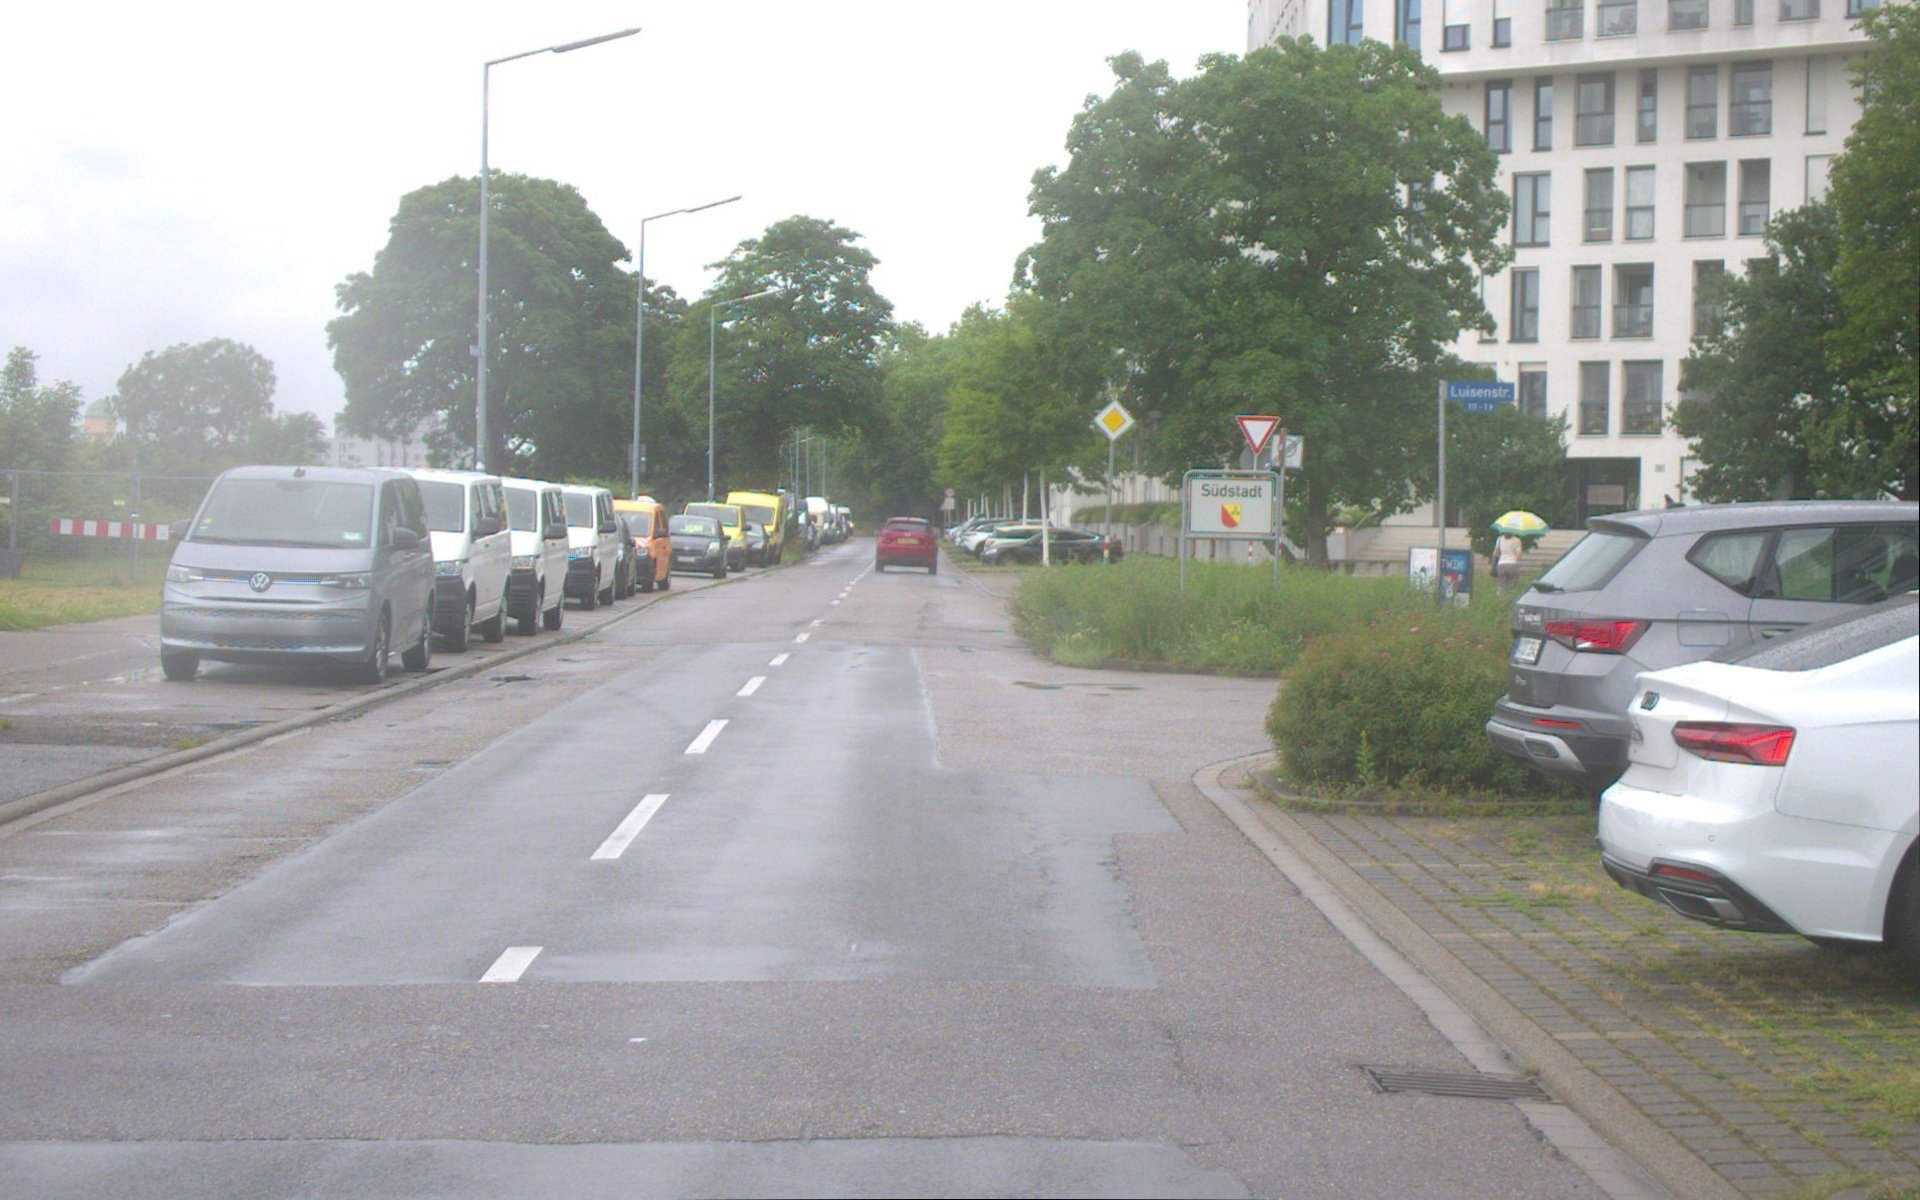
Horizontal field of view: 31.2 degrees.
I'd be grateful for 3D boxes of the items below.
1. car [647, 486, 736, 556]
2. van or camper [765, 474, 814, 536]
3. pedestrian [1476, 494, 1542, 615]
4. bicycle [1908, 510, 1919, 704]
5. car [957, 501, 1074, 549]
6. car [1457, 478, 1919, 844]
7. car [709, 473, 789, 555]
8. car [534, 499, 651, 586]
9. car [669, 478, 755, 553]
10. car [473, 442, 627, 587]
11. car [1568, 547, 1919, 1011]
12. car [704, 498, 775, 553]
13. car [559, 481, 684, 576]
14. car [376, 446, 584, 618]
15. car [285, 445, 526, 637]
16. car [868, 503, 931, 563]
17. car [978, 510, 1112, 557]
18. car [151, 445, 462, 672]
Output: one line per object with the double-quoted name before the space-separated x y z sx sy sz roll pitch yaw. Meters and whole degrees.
"car" -6.599 -1.960 84.875 1.804 1.556 4.033 4 2 -1
"van or camper" -7.981 -4.411 161.327 2.094 2.706 7.575 4 1 -3
"pedestrian" 9.222 -0.772 57.789 0.965 2.006 0.623 1 2 0
"bicycle" 8.550 0.064 26.782 2.190 1.517 0.630 1 1 20
"car" 2.232 -3.069 140.047 4.539 1.679 1.886 -4 1 -3
"car" 4.605 0.231 16.500 4.089 1.618 1.966 -1 1 -2
"car" -7.419 -3.047 121.608 2.192 2.685 6.081 4 1 1
"car" -6.698 -1.080 63.103 1.683 1.496 4.893 1 1 -1
"car" -7.005 -2.386 97.660 2.017 1.949 6.066 3 1 -1
"car" -6.717 -1.429 56.815 1.942 2.228 5.558 1 2 -1
"car" 4.444 0.517 11.606 4.409 1.400 1.911 -1 1 -1
"car" -7.033 -2.366 109.964 1.993 1.588 5.018 4 1 -2
"car" -6.667 -1.426 68.011 1.940 1.761 4.331 1 1 1
"car" -6.226 -0.913 45.159 1.960 2.051 5.275 2 2 0
"car" -6.243 -0.705 39.280 1.895 2.006 5.258 1 2 0
"car" -1.828 -1.999 103.260 1.756 1.700 4.000 2 1 -2
"car" 2.874 -2.266 117.054 4.487 1.476 1.692 -1 1 -1
"car" -5.973 -0.423 32.010 1.956 1.895 4.995 2 2 -1
